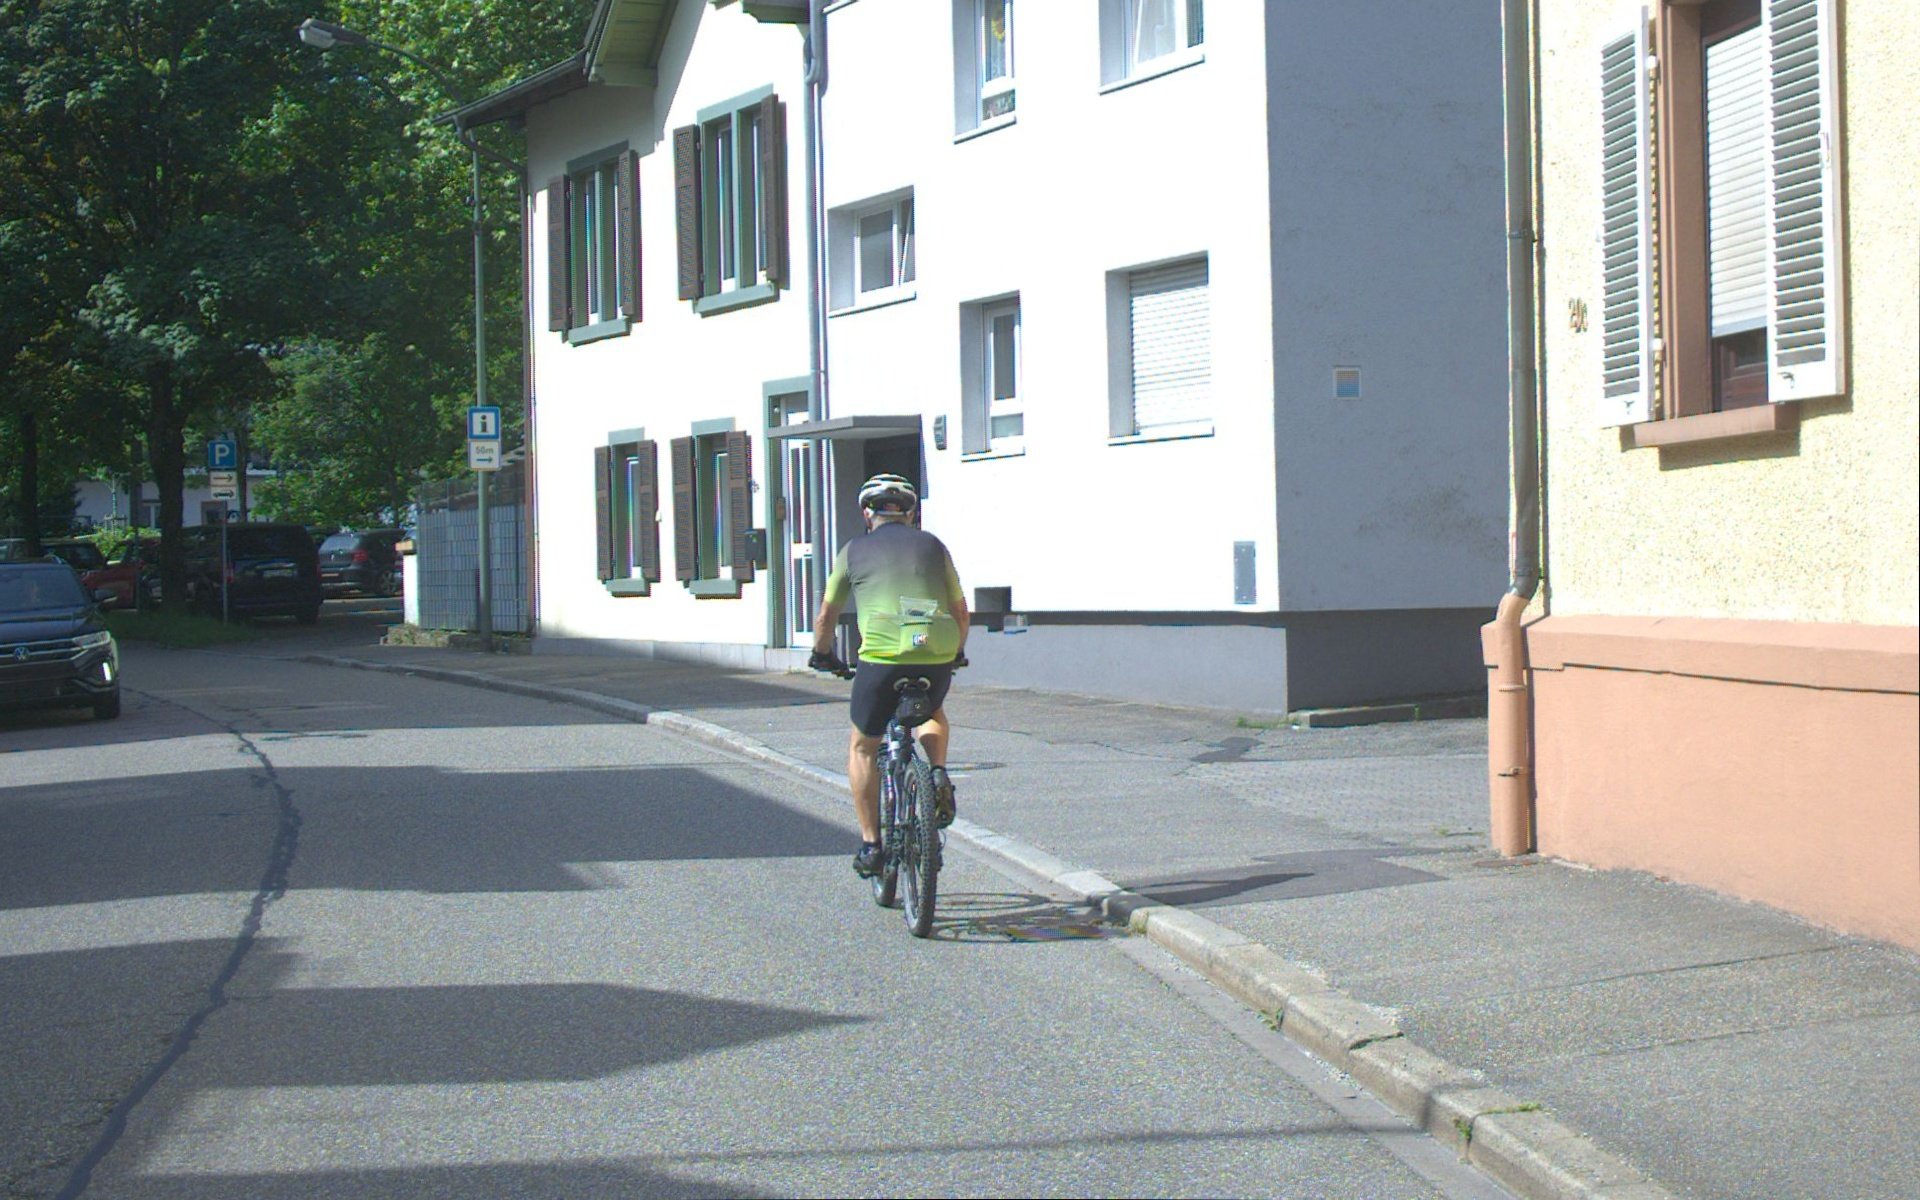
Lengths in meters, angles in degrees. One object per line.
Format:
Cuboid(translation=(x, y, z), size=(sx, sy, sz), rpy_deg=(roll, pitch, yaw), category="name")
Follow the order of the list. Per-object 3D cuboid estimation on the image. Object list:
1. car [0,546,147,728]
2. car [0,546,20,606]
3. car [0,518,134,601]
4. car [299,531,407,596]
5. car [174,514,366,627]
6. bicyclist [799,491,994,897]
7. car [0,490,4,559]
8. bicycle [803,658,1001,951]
Cuboid(translation=(-8.993, 0.340, 32.692), size=(1.823, 1.532, 4.001), rpy_deg=(-5, 2, -21), category="car")
Cuboid(translation=(-25.935, -0.585, 88.157), size=(1.810, 1.546, 3.998), rpy_deg=(-1, 1, 13), category="car")
Cuboid(translation=(-18.062, -0.845, 68.866), size=(1.708, 1.537, 4.000), rpy_deg=(-3, 3, -32), category="car")
Cuboid(translation=(-12.704, -0.775, 71.810), size=(1.582, 1.253, 3.859), rpy_deg=(-3, 2, -19), category="car")
Cuboid(translation=(-11.763, -0.543, 58.452), size=(1.822, 1.785, 4.000), rpy_deg=(-3, 3, -32), category="car")
Cuboid(translation=(-0.259, 0.356, 13.493), size=(0.685, 1.526, 0.716), rpy_deg=(-2, 0, -3), category="bicyclist")
Cuboid(translation=(-27.972, -1.986, 91.765), size=(1.996, 1.848, 4.694), rpy_deg=(-1, 1, 28), category="car")
Cuboid(translation=(-0.249, 0.770, 13.462), size=(0.698, 1.032, 1.471), rpy_deg=(0, 1, -4), category="bicycle")
